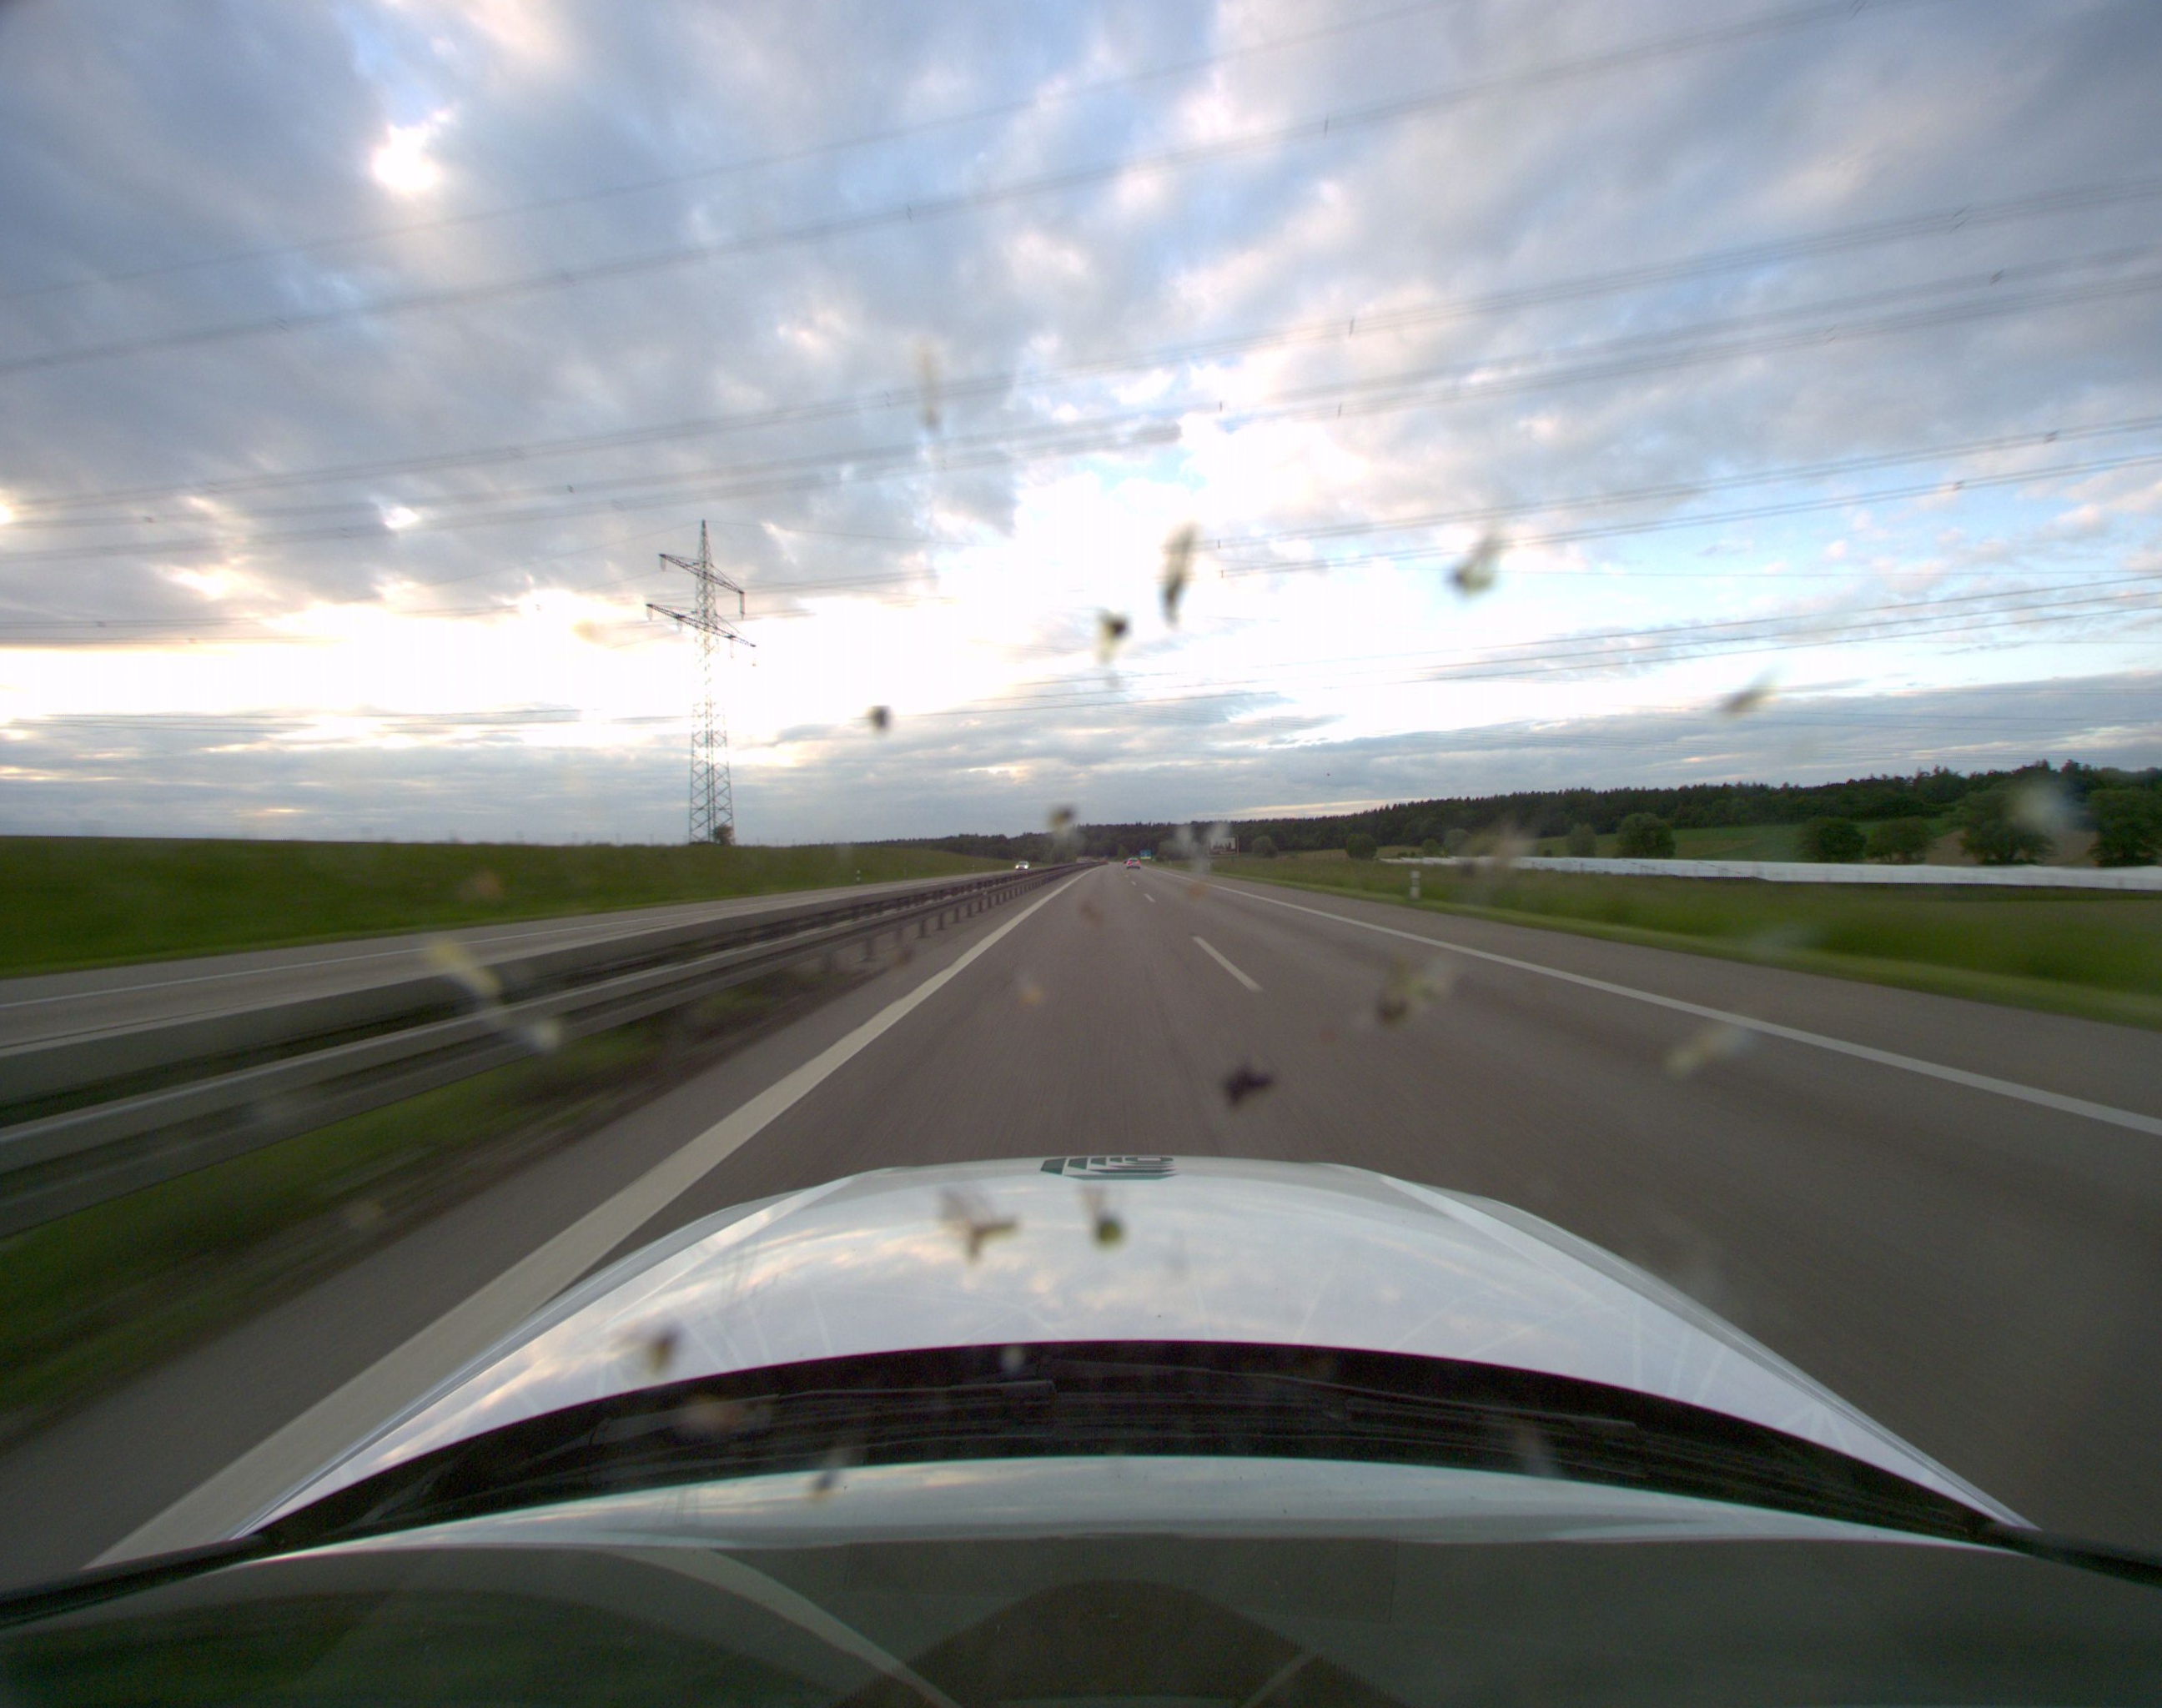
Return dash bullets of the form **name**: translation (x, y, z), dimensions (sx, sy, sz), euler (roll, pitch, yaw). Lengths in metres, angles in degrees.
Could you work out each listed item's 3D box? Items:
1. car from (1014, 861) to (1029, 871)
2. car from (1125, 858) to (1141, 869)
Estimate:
- **car**: translation (-9.089, 1.804, 125.064), dimensions (1.758, 1.482, 5.337), euler (0, 0, 3)
- **car**: translation (7.087, 1.266, 111.088), dimensions (1.945, 1.531, 4.080), euler (0, 0, 1)
